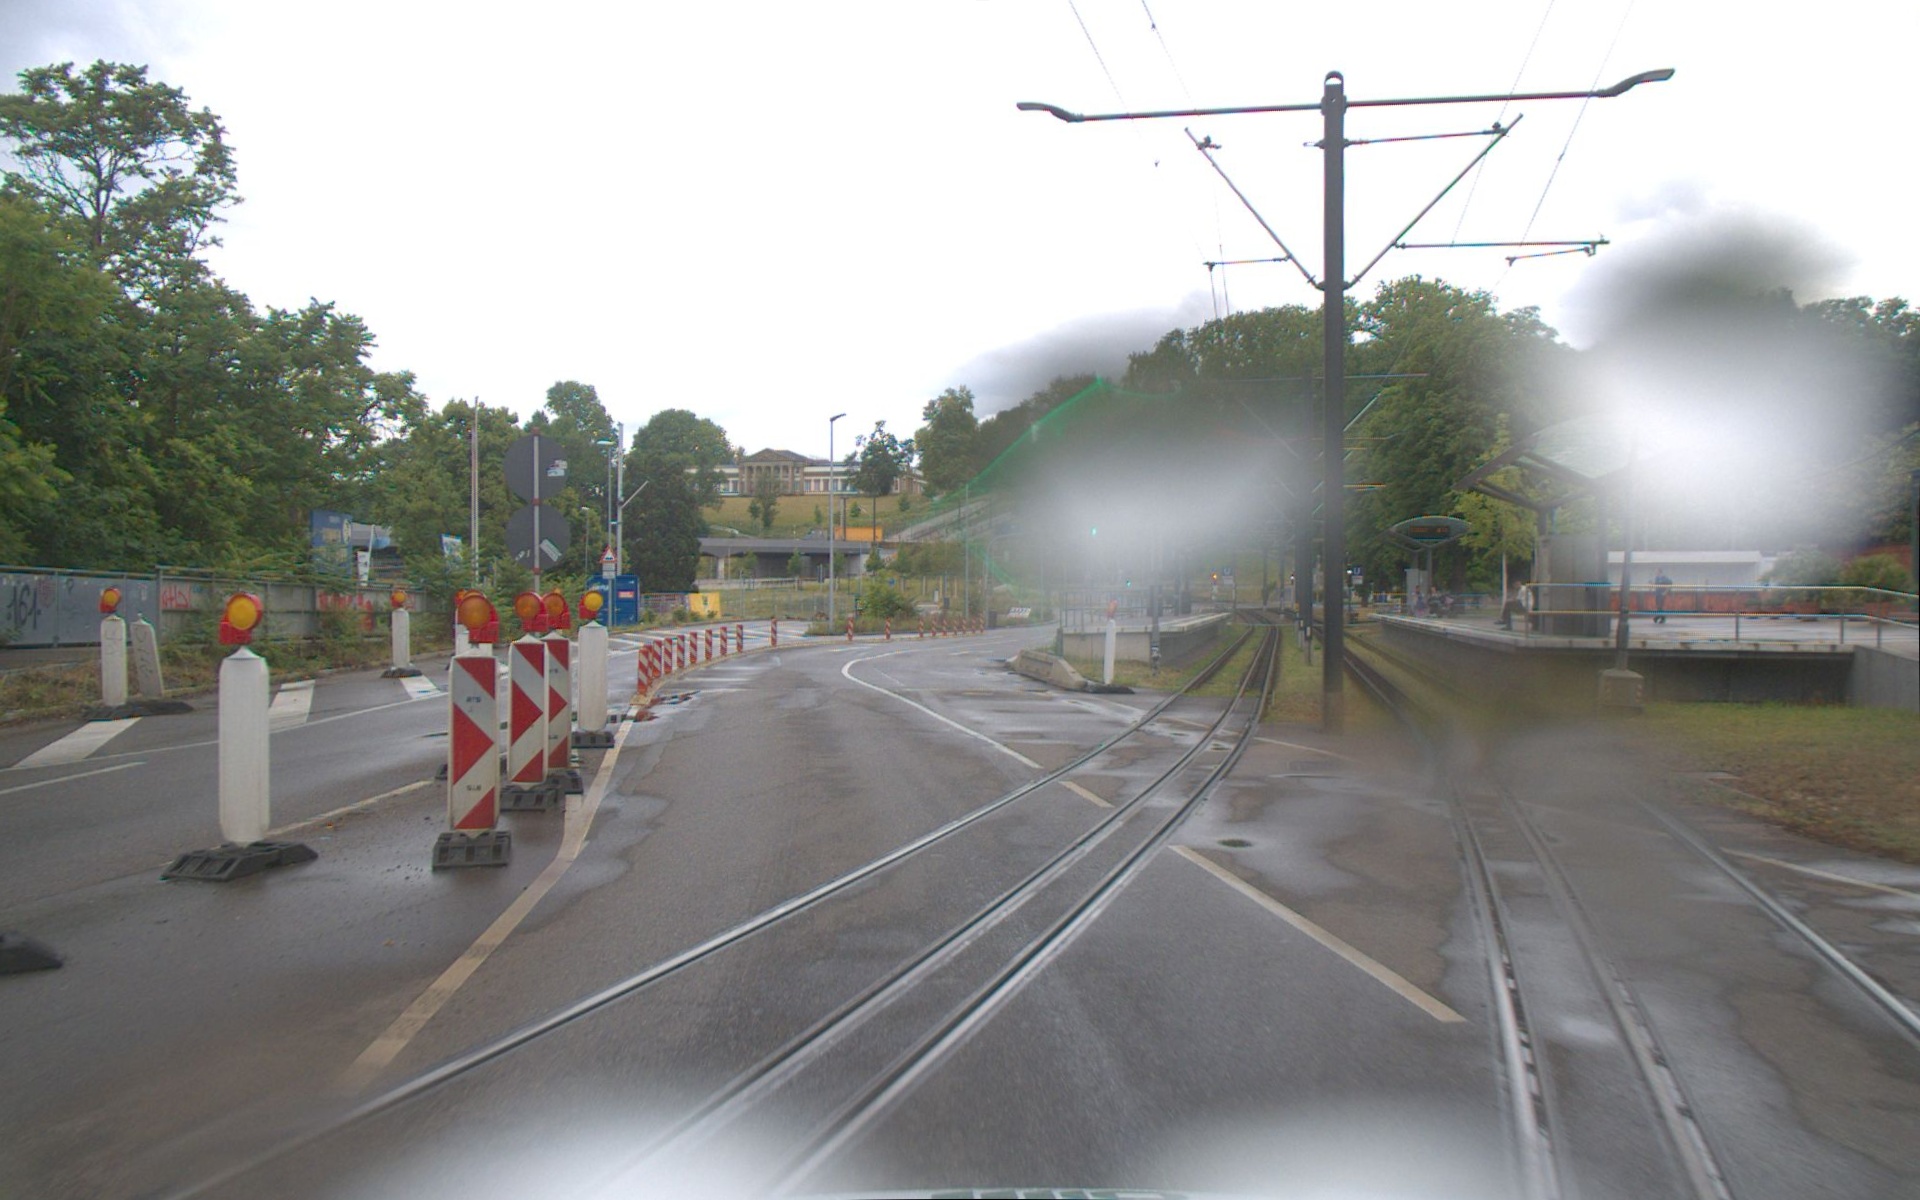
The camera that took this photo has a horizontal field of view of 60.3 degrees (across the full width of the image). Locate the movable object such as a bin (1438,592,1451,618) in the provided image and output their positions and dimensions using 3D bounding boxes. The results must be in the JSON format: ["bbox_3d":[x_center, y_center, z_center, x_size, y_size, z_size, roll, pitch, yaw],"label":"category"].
[{"bbox_3d":[19.259,0.185,65.802,0.427,1.026,0.682,-1,0,12],"label":"movable object such as a bin"}]

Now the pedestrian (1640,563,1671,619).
[{"bbox_3d":[23.347,-0.303,55.522,0.705,1.821,1.183,-2,0,11],"label":"pedestrian"}]

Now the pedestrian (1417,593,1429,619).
[{"bbox_3d":[18.522,0.244,66.193,0.427,1.026,0.551,-1,0,12],"label":"pedestrian"}]

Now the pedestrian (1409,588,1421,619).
[{"bbox_3d":[18.414,0.128,66.908,0.427,1.247,0.551,-1,0,12],"label":"pedestrian"}]

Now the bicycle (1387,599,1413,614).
[{"bbox_3d":[31.673,0.494,119.139,1.771,1.050,0.653,-1,0,9],"label":"bicycle"}]

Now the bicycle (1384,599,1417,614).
[{"bbox_3d":[31.507,0.437,118.266,2.175,1.050,0.690,-1,0,9],"label":"bicycle"}]

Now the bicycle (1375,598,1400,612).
[{"bbox_3d":[32.829,0.365,126.985,1.771,1.050,0.653,-1,0,9],"label":"bicycle"}]

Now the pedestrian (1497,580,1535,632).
[{"bbox_3d":[12.683,0.143,37.718,0.588,1.138,0.520,4,0,-5],"label":"pedestrian"}]

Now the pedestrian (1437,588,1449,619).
[{"bbox_3d":[19.509,0.154,66.824,0.427,1.247,0.551,-1,0,12],"label":"pedestrian"}]

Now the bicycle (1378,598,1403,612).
[{"bbox_3d":[32.685,0.388,125.571,1.771,1.050,0.653,-1,0,9],"label":"bicycle"}]

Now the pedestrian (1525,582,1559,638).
[{"bbox_3d":[13.429,0.235,38.152,0.508,1.233,0.783,4,-1,7],"label":"pedestrian"}]
